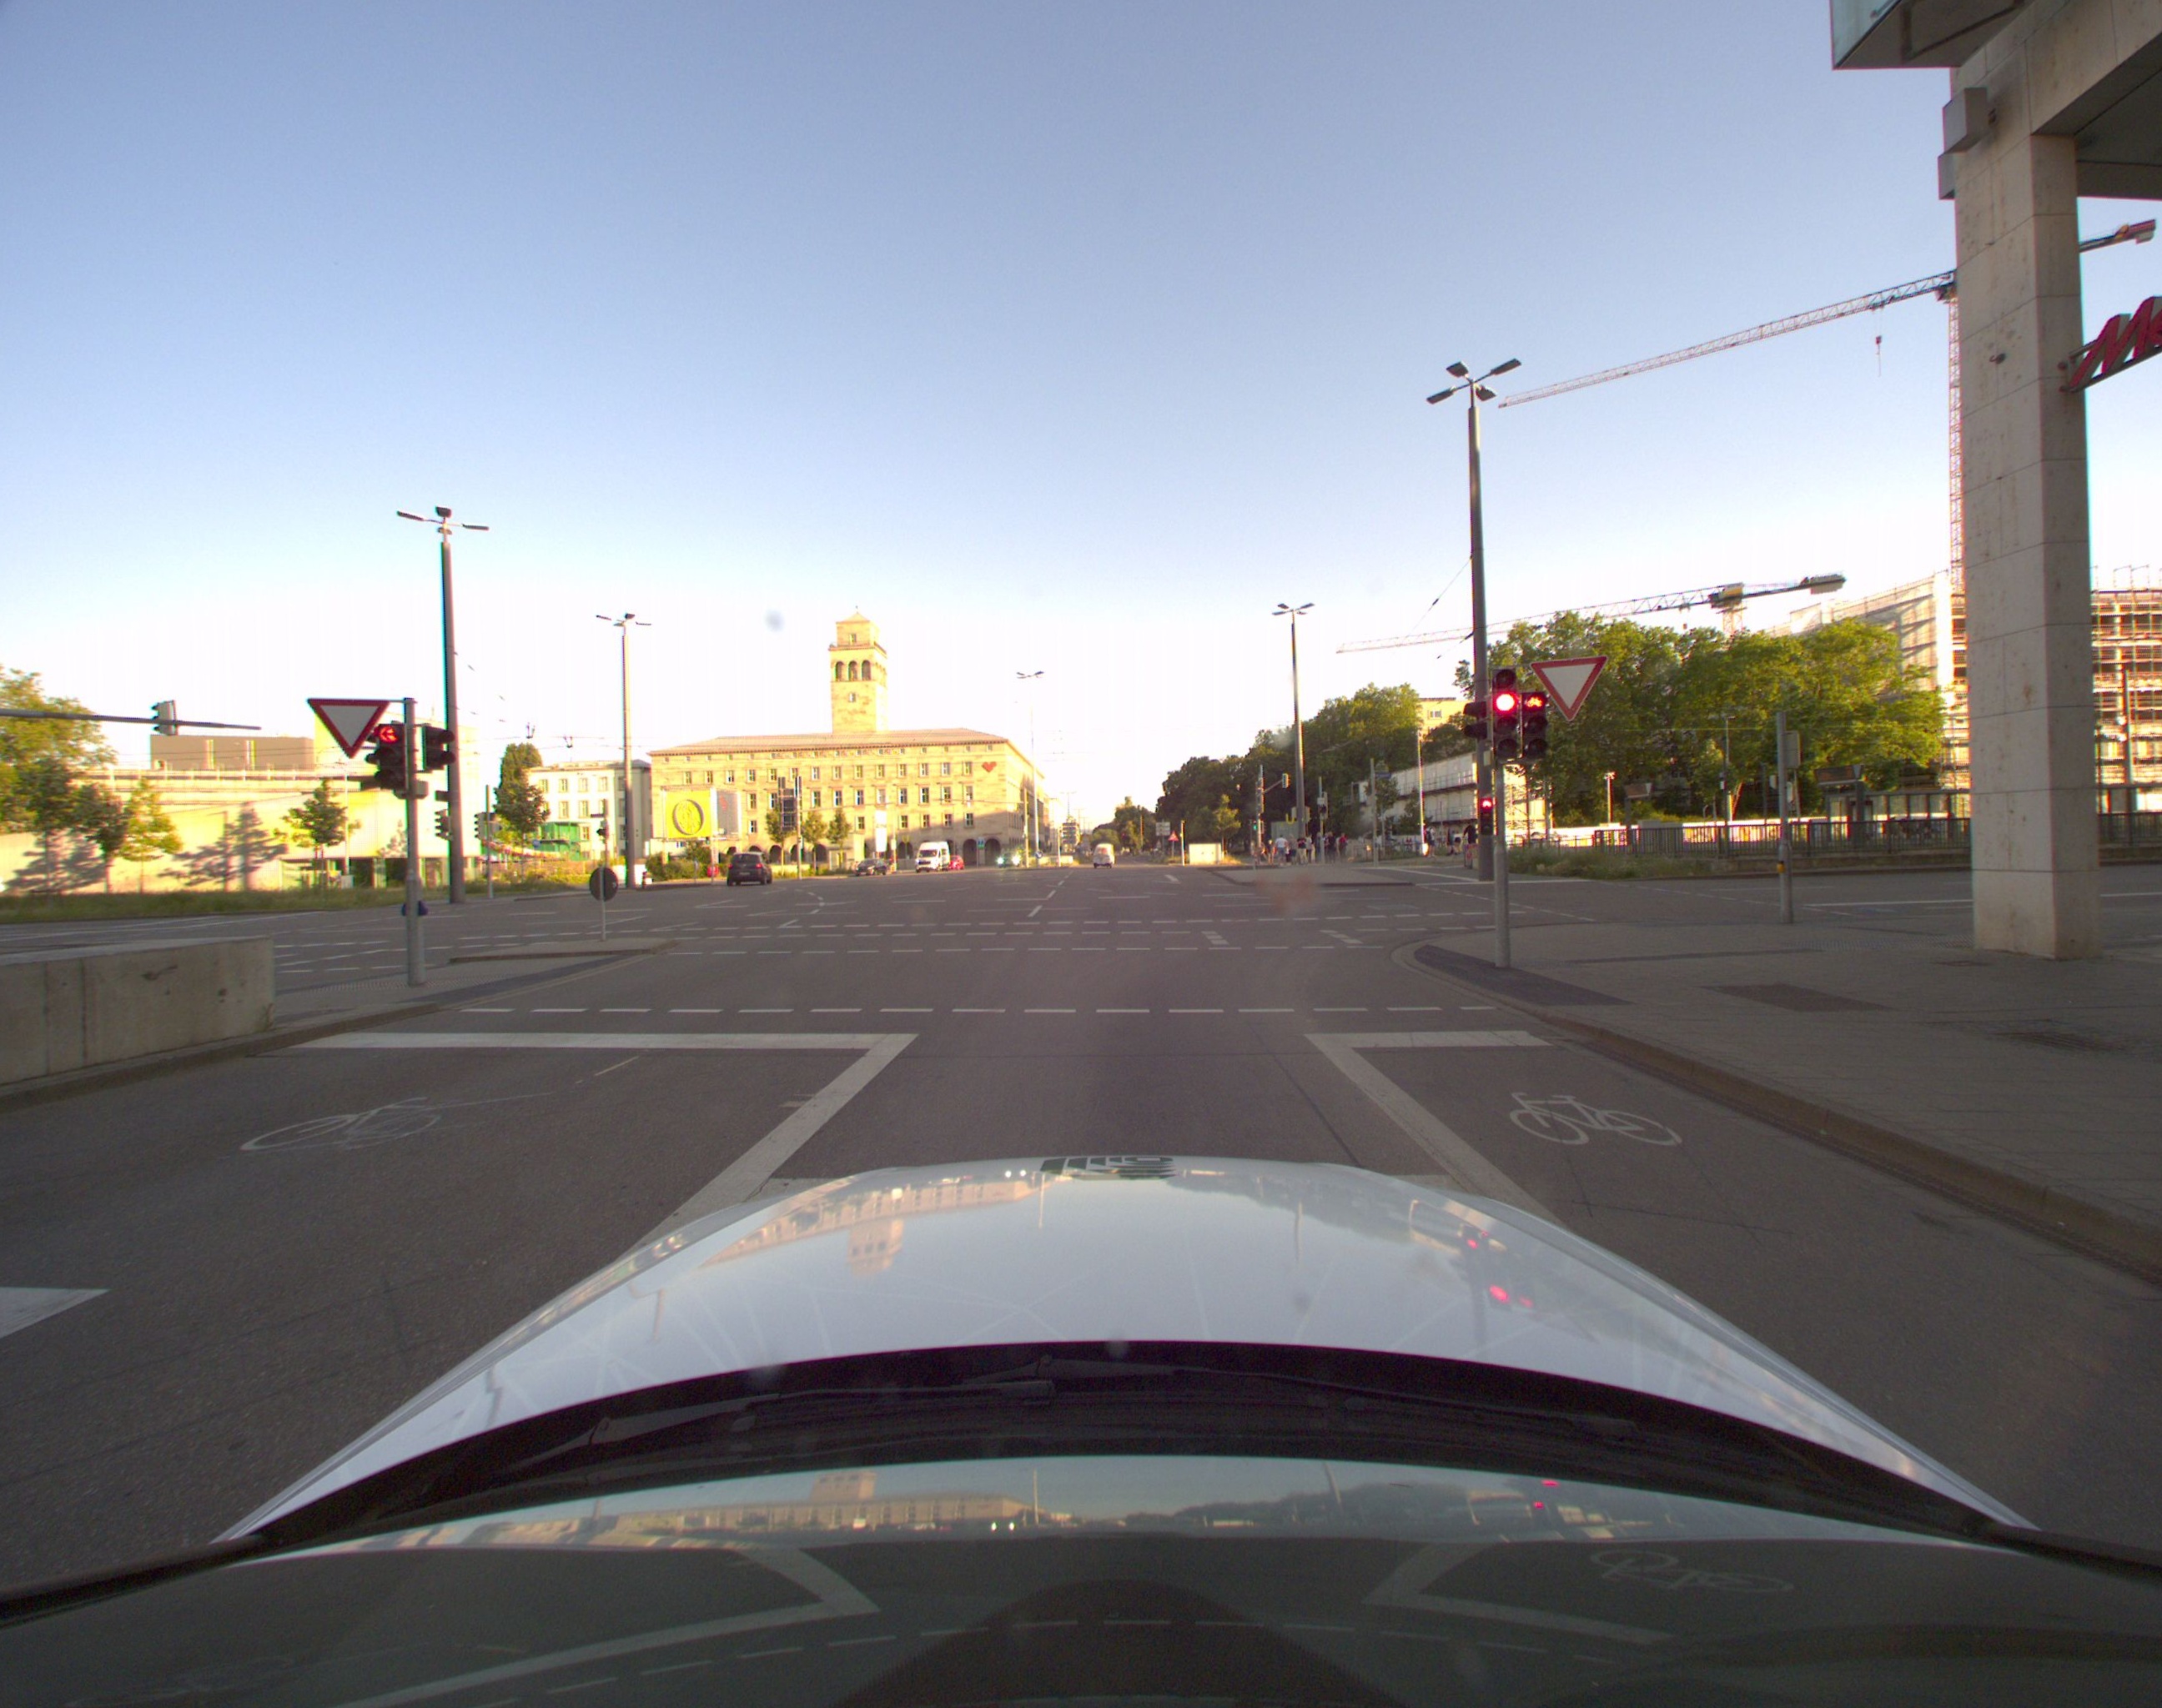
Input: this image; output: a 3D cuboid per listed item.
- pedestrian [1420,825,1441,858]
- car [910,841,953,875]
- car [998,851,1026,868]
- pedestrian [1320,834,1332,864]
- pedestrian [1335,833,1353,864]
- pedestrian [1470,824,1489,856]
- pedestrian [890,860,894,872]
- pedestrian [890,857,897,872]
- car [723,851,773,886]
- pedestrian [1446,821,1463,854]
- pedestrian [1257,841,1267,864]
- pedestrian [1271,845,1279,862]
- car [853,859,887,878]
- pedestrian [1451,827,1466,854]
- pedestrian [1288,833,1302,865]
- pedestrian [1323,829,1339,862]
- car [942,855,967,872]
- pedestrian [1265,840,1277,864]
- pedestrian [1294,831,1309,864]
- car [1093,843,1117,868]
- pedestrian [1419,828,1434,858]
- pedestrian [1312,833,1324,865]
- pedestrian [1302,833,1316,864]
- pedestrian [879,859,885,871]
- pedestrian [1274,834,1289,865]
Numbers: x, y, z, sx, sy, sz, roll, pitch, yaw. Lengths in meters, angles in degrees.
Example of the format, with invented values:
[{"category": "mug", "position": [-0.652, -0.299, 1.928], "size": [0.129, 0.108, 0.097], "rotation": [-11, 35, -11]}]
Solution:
[{"category": "pedestrian", "position": [18.560, -0.662, 43.255], "size": [0.667, 1.725, 0.710], "rotation": [-2, 0, -12]}, {"category": "car", "position": [-13.283, 0.310, 72.977], "size": [2.269, 2.776, 6.090], "rotation": [-2, 0, 4]}, {"category": "car", "position": [-6.163, 0.473, 72.954], "size": [1.815, 1.341, 4.005], "rotation": [-2, 1, 4]}, {"category": "pedestrian", "position": [14.073, -0.300, 46.777], "size": [0.568, 1.678, 0.641], "rotation": [-2, 0, 16]}, {"category": "pedestrian", "position": [14.797, -0.302, 45.815], "size": [0.838, 1.734, 0.708], "rotation": [-2, 0, 14]}, {"category": "pedestrian", "position": [21.556, -0.766, 44.052], "size": [0.707, 1.725, 0.669], "rotation": [-2, 0, 6]}, {"category": "pedestrian", "position": [-20.836, 1.362, 89.756], "size": [0.420, 1.300, 0.459], "rotation": [0, -1, -3]}, {"category": "pedestrian", "position": [-20.908, 1.156, 90.823], "size": [0.620, 1.744, 0.459], "rotation": [0, -1, -4]}, {"category": "car", "position": [-16.376, 0.678, 40.192], "size": [1.742, 1.604, 4.112], "rotation": [-2, 0, -15]}, {"category": "pedestrian", "position": [19.759, -0.855, 43.080], "size": [0.705, 1.725, 0.671], "rotation": [-2, 0, 19]}, {"category": "pedestrian", "position": [13.451, -0.124, 60.541], "size": [0.555, 1.655, 0.907], "rotation": [-2, 1, 22]}, {"category": "pedestrian", "position": [20.793, -0.084, 87.390], "size": [0.662, 1.842, 0.714], "rotation": [-2, 1, 7]}, {"category": "car", "position": [-18.315, 1.199, 70.873], "size": [1.817, 1.466, 4.158], "rotation": [-2, 1, 0]}, {"category": "pedestrian", "position": [20.248, -0.721, 43.677], "size": [0.670, 1.441, 0.718], "rotation": [-2, 0, 24]}, {"category": "pedestrian", "position": [11.980, -0.275, 45.541], "size": [0.705, 1.725, 0.671], "rotation": [-2, 0, 15]}, {"category": "pedestrian", "position": [13.934, -0.483, 45.448], "size": [0.799, 1.791, 0.804], "rotation": [-2, 0, 16]}, {"category": "car", "position": [-12.632, 0.937, 81.664], "size": [1.732, 1.487, 4.002], "rotation": [-2, 1, 2]}, {"category": "pedestrian", "position": [14.090, -0.157, 60.396], "size": [0.673, 1.757, 0.907], "rotation": [-2, 1, 22]}, {"category": "pedestrian", "position": [11.855, -0.374, 43.760], "size": [0.706, 1.725, 0.918], "rotation": [-2, 0, 13]}, {"category": "car", "position": [1.758, 0.087, 59.716], "size": [1.476, 1.696, 2.979], "rotation": [-2, 0, 5]}, {"category": "pedestrian", "position": [18.851, -0.585, 44.409], "size": [0.569, 1.592, 0.537], "rotation": [-2, 0, 1]}, {"category": "pedestrian", "position": [13.230, -0.292, 45.502], "size": [0.568, 1.791, 0.641], "rotation": [-2, 0, 16]}, {"category": "pedestrian", "position": [12.997, -0.330, 46.397], "size": [0.705, 1.725, 0.919], "rotation": [-2, 0, 15]}, {"category": "pedestrian", "position": [-21.975, 1.237, 89.866], "size": [0.504, 1.300, 0.700], "rotation": [0, -1, -3]}, {"category": "pedestrian", "position": [11.255, -0.269, 45.688], "size": [0.705, 1.725, 0.671], "rotation": [-2, 0, 16]}]
